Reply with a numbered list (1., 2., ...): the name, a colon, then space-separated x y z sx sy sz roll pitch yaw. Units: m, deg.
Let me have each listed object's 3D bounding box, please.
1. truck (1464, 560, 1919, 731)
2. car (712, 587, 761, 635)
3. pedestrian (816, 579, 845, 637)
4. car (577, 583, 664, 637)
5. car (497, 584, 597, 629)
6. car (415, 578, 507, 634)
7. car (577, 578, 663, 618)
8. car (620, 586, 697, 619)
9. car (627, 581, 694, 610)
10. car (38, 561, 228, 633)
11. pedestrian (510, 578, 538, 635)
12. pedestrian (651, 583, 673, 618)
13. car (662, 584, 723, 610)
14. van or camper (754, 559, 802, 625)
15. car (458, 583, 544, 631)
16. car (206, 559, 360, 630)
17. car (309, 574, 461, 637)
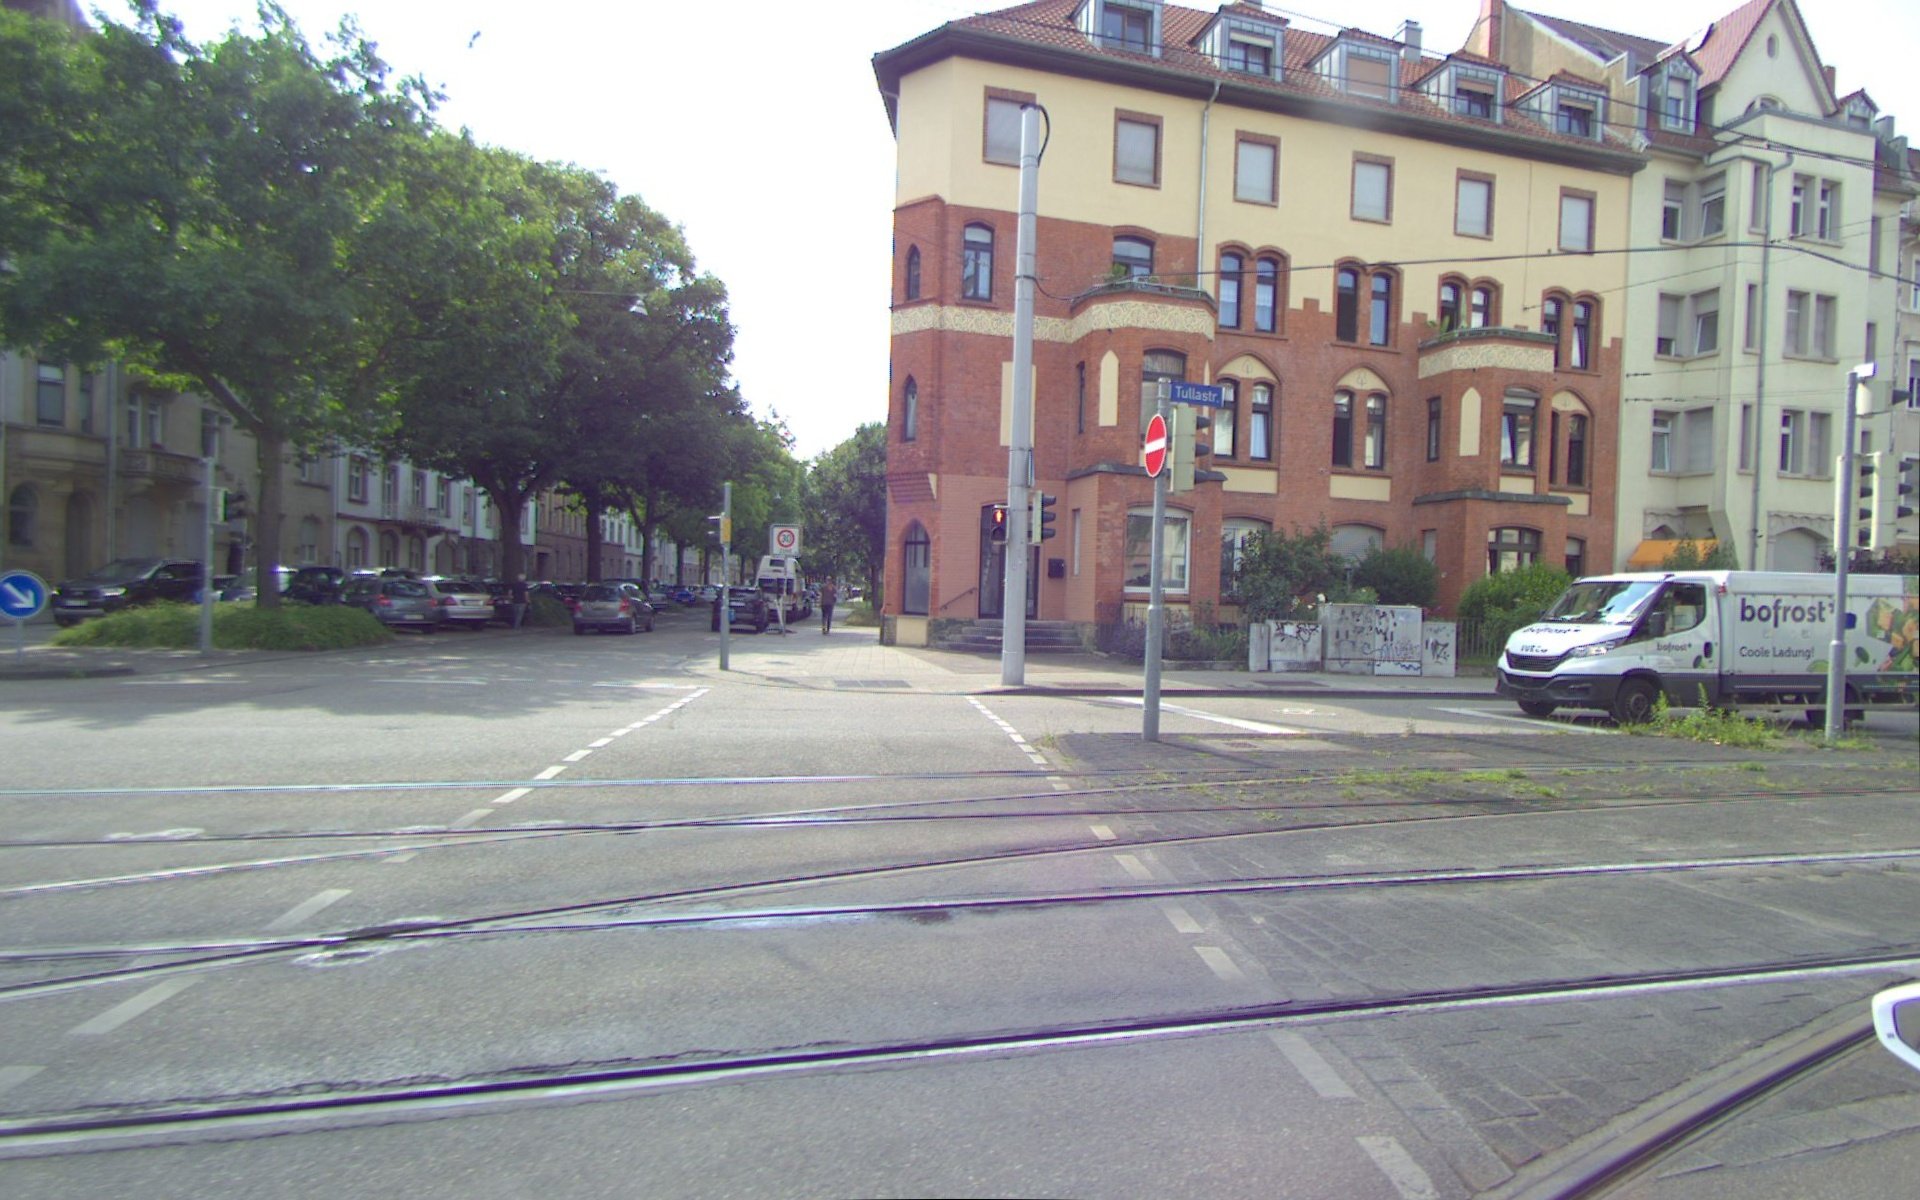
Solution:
1. truck: 11.213 0.688 15.085 6.494 2.244 2.188 2 0 -11
2. car: -8.020 0.369 36.092 1.530 1.565 3.722 3 0 -12
3. pedestrian: -4.178 0.254 32.383 0.745 1.856 1.004 1 0 -16
4. car: -10.557 0.306 31.496 1.642 1.566 3.729 1 0 -4
5. car: -16.395 0.259 39.854 3.937 1.617 1.992 2 0 38
6. car: -14.967 0.165 30.046 1.635 1.566 3.687 2 0 -40
7. car: -16.938 -0.111 50.073 3.727 1.848 1.984 2 1 -30
8. car: -16.616 0.120 55.372 3.727 1.683 1.984 2 0 -30
9. car: -18.885 -0.278 63.368 3.727 1.683 1.984 2 0 -30
10. car: -22.023 -0.069 27.012 1.963 1.707 4.261 2 0 -8
11. pedestrian: -13.461 0.203 31.027 0.734 1.702 0.794 2 0 -24
12. pedestrian: -15.822 0.031 53.259 0.879 1.815 0.953 2 0 -30
13. car: -18.832 -0.220 70.736 3.727 1.683 1.984 2 0 -30
14. van or camper: -8.849 -0.399 49.165 2.114 3.032 4.634 1 0 -9
15. car: -15.048 0.207 32.854 1.612 1.416 3.527 3 -1 -41
16. car: -19.402 -0.143 29.034 1.962 1.845 3.997 2 0 -5
17. car: -15.797 0.132 27.564 4.157 1.566 1.994 2 0 34
